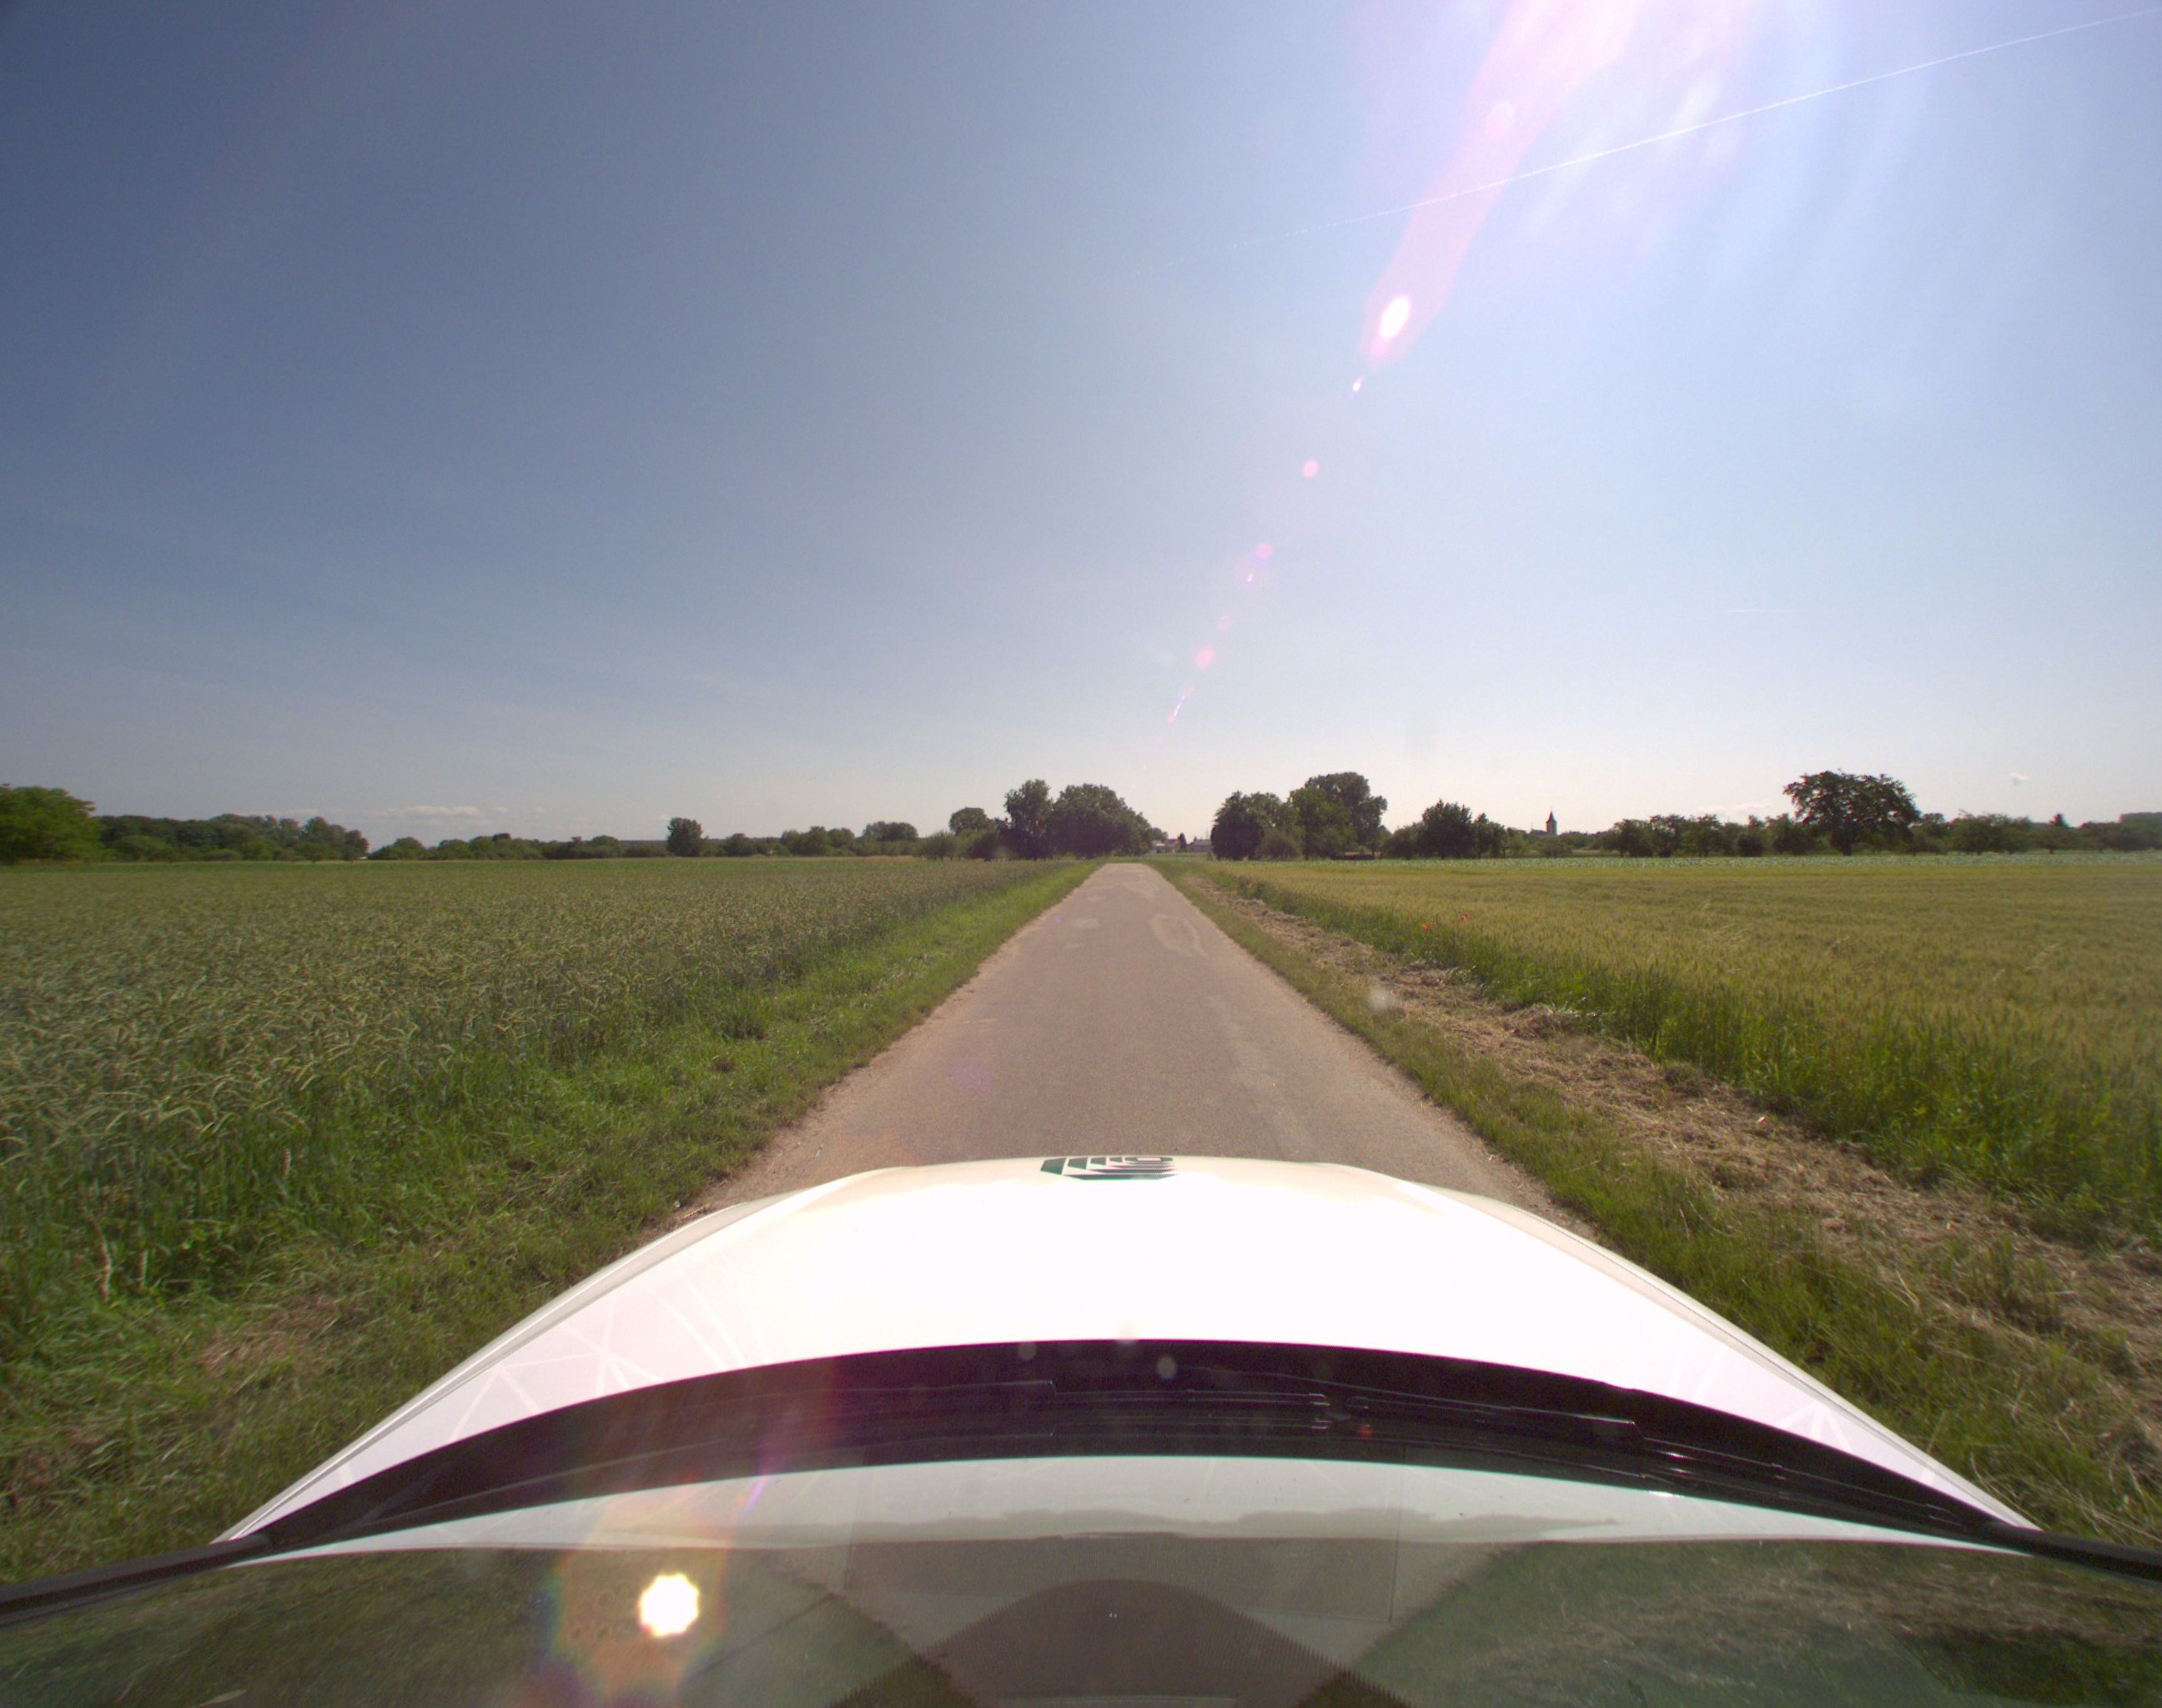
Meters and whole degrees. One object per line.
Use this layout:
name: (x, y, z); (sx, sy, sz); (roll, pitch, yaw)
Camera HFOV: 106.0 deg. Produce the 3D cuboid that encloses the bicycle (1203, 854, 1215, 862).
bicycle: (19.951, 0.604, 126.757); (1.918, 1.127, 0.744); (-2, -1, -40)
